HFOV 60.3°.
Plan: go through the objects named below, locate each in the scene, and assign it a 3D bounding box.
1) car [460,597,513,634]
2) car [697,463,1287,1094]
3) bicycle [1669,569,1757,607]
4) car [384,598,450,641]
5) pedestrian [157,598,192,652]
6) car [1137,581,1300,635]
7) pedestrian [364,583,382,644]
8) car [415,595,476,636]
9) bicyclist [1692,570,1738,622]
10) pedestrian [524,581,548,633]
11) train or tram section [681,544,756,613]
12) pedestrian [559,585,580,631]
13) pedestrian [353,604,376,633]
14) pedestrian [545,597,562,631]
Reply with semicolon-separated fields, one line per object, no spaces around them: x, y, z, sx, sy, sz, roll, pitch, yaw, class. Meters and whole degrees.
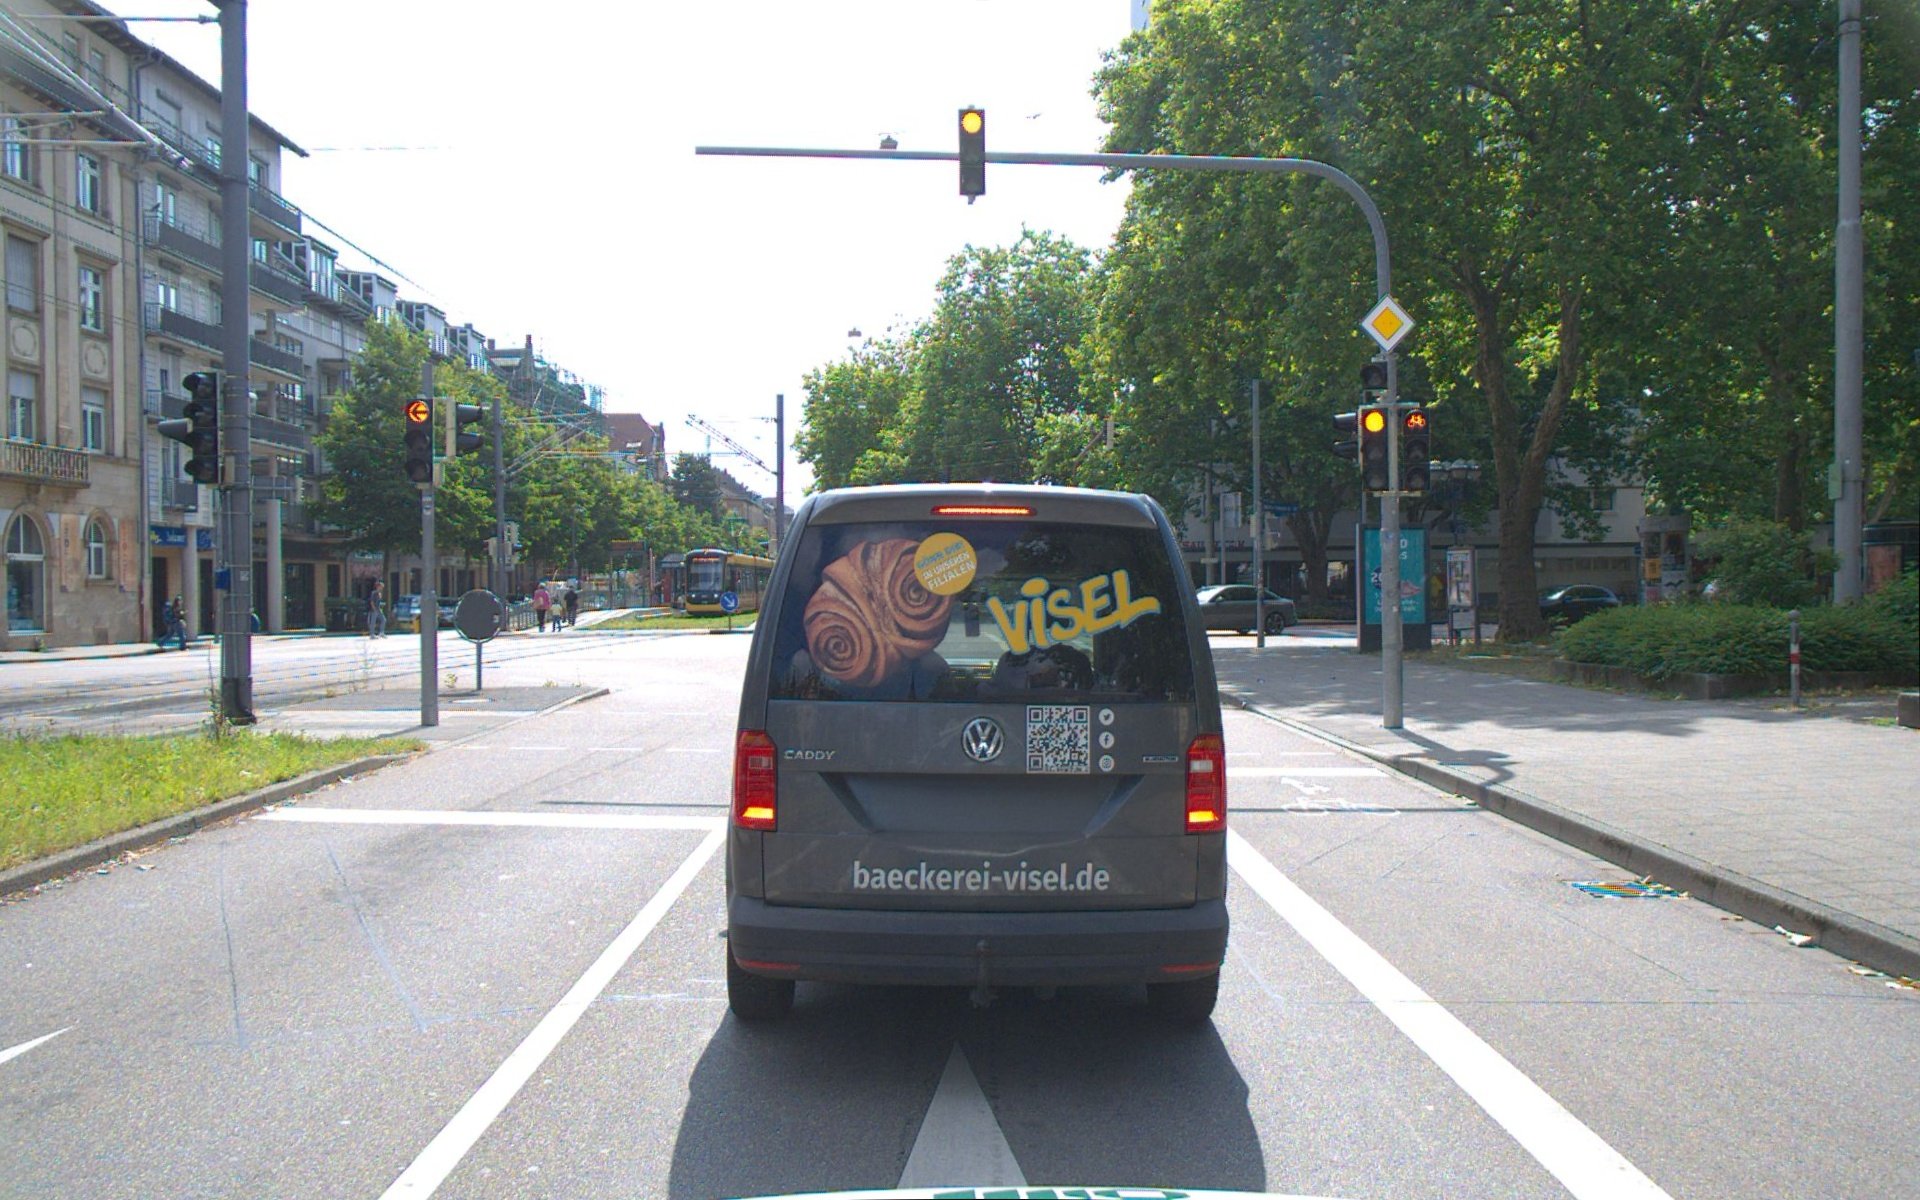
-27.229;0.868;95.230;1.953;2.049;3.999;-1;0;-1;car
0.082;0.511;6.592;1.715;1.840;3.474;1;0;-1;car
22.475;-0.367;49.376;2.259;1.066;0.895;-1;1;-9;bicycle
-26.879;0.943;82.033;1.953;2.049;3.999;-1;0;-1;car
-23.989;0.757;50.488;0.852;1.623;0.685;-1;0;-34;pedestrian
7.379;0.205;47.236;4.423;1.414;1.693;-1;0;-25;car
-20.037;0.451;56.479;0.468;2.049;0.419;-1;0;-6;pedestrian
-26.936;0.790;86.727;1.953;2.049;3.999;-1;0;-1;car
22.557;-0.119;49.398;0.979;1.538;0.779;-1;0;-9;bicyclist
-14.897;0.245;58.095;0.646;1.815;0.660;-1;0;-1;pedestrian
-12.875;-1.146;89.194;2.195;3.389;12.970;-1;1;0;train or tram section
-14.839;0.311;62.868;0.646;1.714;0.655;-1;0;-1;pedestrian
-26.008;0.810;72.226;0.738;1.233;0.704;-1;0;-1;pedestrian
-14.275;0.483;58.083;0.454;1.164;0.435;-1;0;-1;pedestrian
